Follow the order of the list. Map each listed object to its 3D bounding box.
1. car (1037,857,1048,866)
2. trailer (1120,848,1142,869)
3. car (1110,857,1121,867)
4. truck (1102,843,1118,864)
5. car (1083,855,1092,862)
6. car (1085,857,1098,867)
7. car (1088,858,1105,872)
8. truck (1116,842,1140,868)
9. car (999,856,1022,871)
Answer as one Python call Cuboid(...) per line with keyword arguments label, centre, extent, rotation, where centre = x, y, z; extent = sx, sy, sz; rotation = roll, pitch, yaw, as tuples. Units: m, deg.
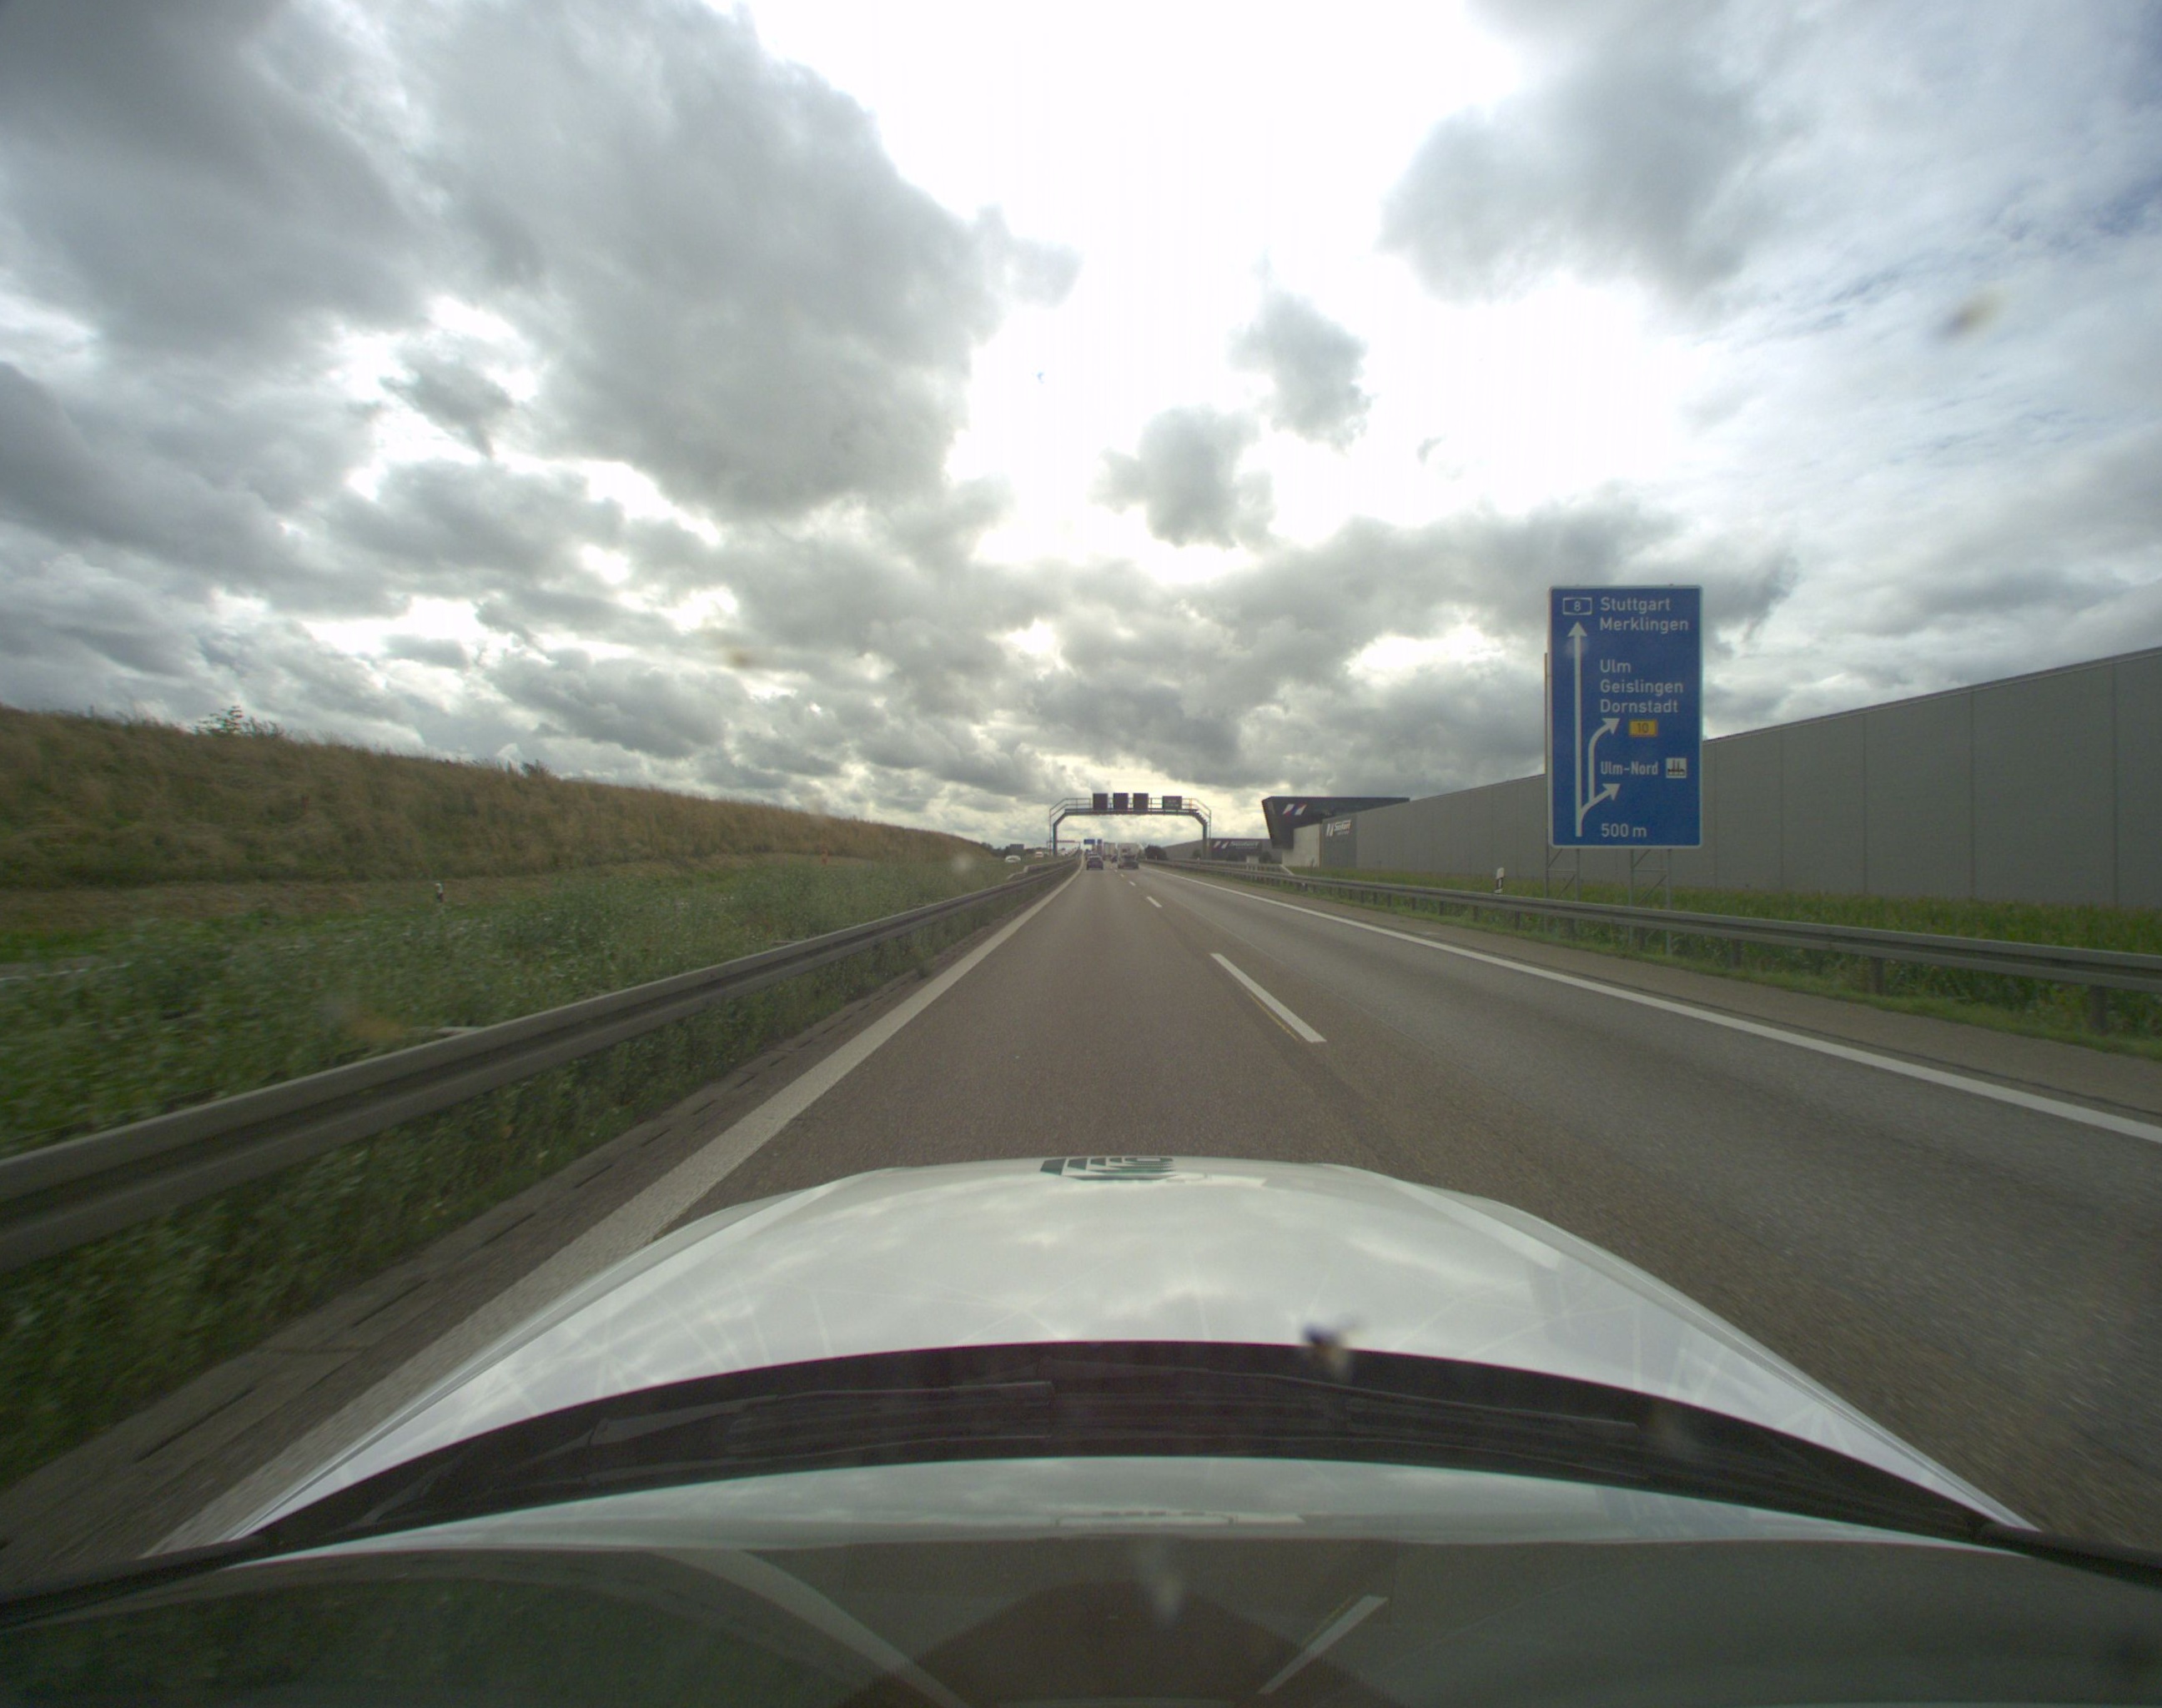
Cuboid(label="car", centre=(-8.404, 1.623, 176.838), extent=(1.986, 2.013, 4.708), rotation=(0, 0, 1))
Cuboid(label="trailer", centre=(5.372, 0.494, 87.346), extent=(2.329, 2.136, 4.003), rotation=(0, -1, 3))
Cuboid(label="car", centre=(6.001, 1.404, 141.378), extent=(1.794, 1.685, 4.002), rotation=(0, -1, 2))
Cuboid(label="truck", centre=(6.555, -0.110, 185.257), extent=(3.328, 4.534, 8.017), rotation=(0, -1, 1))
Cuboid(label="car", centre=(1.646, 1.072, 201.839), extent=(1.935, 1.775, 3.698), rotation=(0, -1, 2))
Cuboid(label="car", centre=(1.653, 1.258, 128.289), extent=(1.938, 1.685, 4.003), rotation=(0, -1, 3))
Cuboid(label="car", centre=(1.697, 1.217, 87.122), extent=(1.739, 1.453, 4.003), rotation=(0, -1, 3))
Cuboid(label="truck", centre=(5.397, 0.162, 94.563), extent=(2.473, 2.950, 5.815), rotation=(0, -1, 1))
Cuboid(label="car", centre=(-7.303, 0.997, 84.750), extent=(1.862, 1.521, 4.001), rotation=(0, 0, 2))
